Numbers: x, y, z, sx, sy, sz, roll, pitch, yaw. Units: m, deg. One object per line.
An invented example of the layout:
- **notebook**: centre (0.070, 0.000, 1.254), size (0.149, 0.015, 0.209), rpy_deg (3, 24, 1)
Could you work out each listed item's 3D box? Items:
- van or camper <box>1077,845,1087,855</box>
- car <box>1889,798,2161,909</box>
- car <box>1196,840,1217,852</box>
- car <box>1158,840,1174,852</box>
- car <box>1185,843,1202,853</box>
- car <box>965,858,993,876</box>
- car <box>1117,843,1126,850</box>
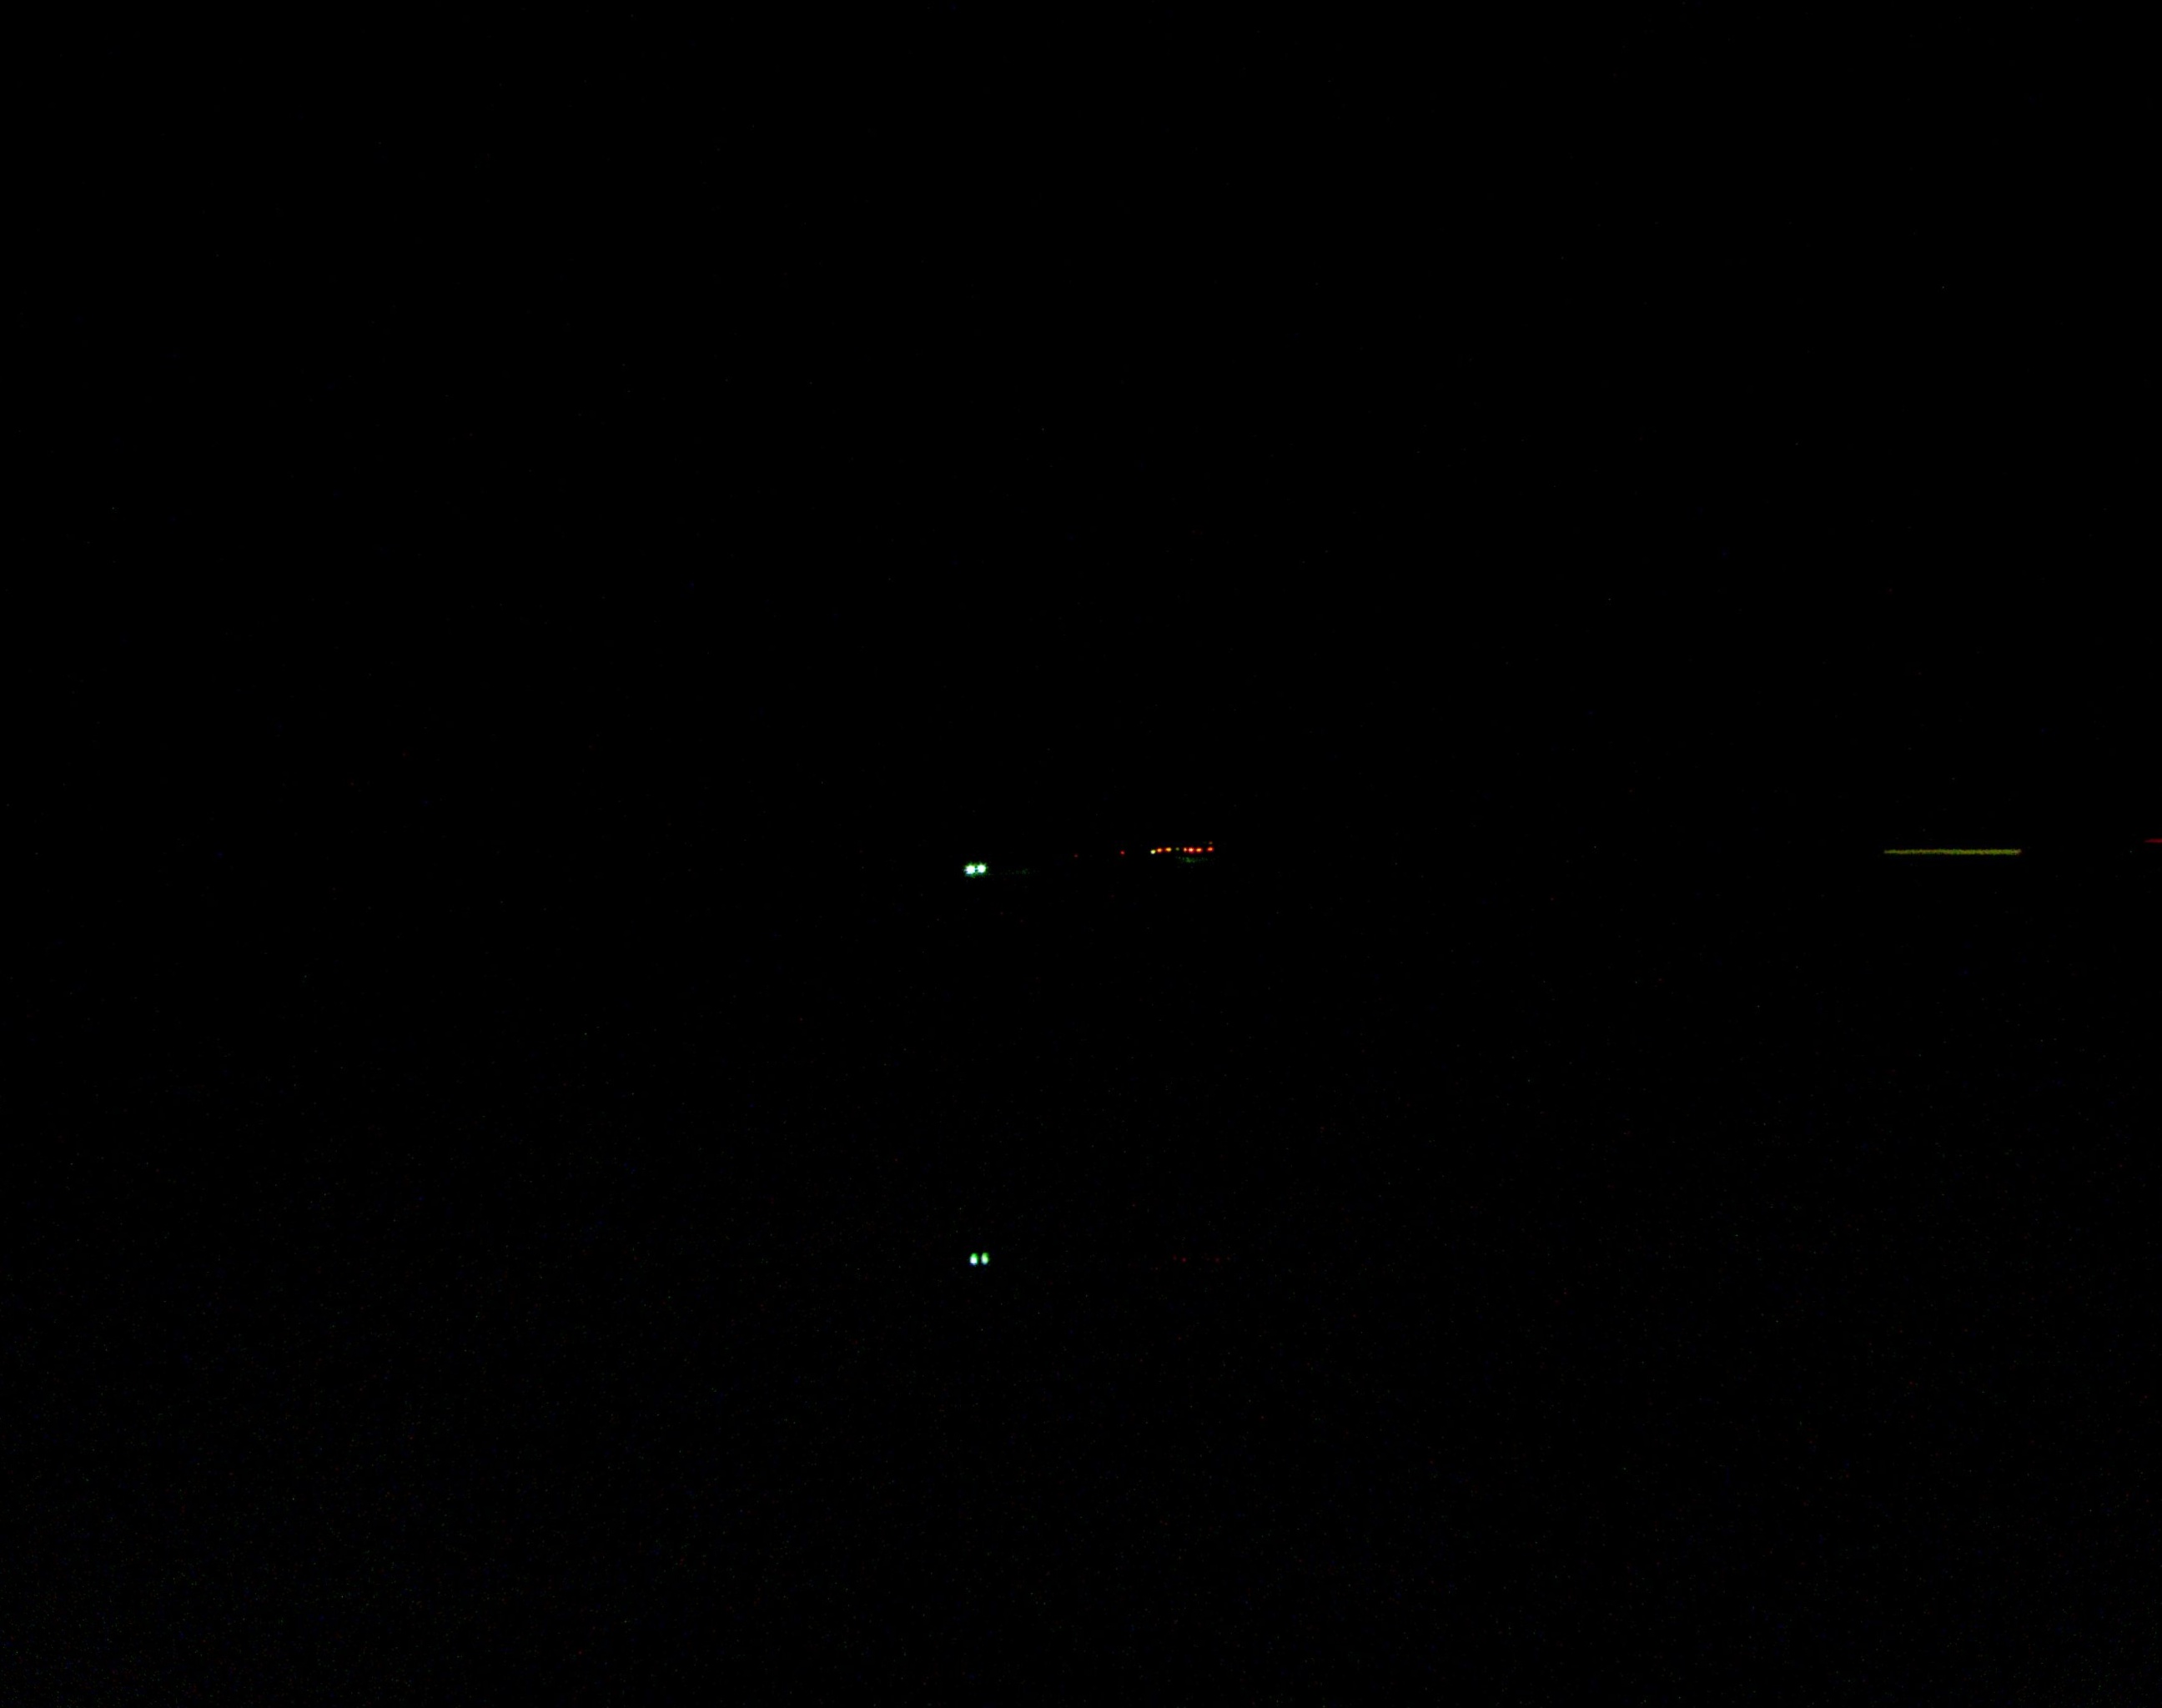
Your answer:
- **van or camper**: centre (0.264, -1.077, 217.454), size (2.301, 2.602, 7.661), rpy_deg (-3, 0, -5)
- **car**: centre (15.154, -0.061, 11.164), size (1.963, 1.448, 4.336), rpy_deg (-3, 0, 1)
- **car**: centre (15.454, -0.983, 93.829), size (1.963, 1.448, 4.336), rpy_deg (-3, 0, 1)
- **car**: centre (13.080, -1.203, 117.554), size (1.963, 1.723, 5.079), rpy_deg (-3, 0, 1)
- **car**: centre (17.830, -0.898, 120.185), size (1.776, 1.403, 4.843), rpy_deg (-5, 1, -1)
- **car**: centre (-12.239, 1.569, 91.011), size (2.002, 1.843, 3.993), rpy_deg (-6, 1, -25)
- **car**: centre (9.256, -1.766, 174.421), size (1.963, 1.448, 4.471), rpy_deg (-3, 0, 1)
